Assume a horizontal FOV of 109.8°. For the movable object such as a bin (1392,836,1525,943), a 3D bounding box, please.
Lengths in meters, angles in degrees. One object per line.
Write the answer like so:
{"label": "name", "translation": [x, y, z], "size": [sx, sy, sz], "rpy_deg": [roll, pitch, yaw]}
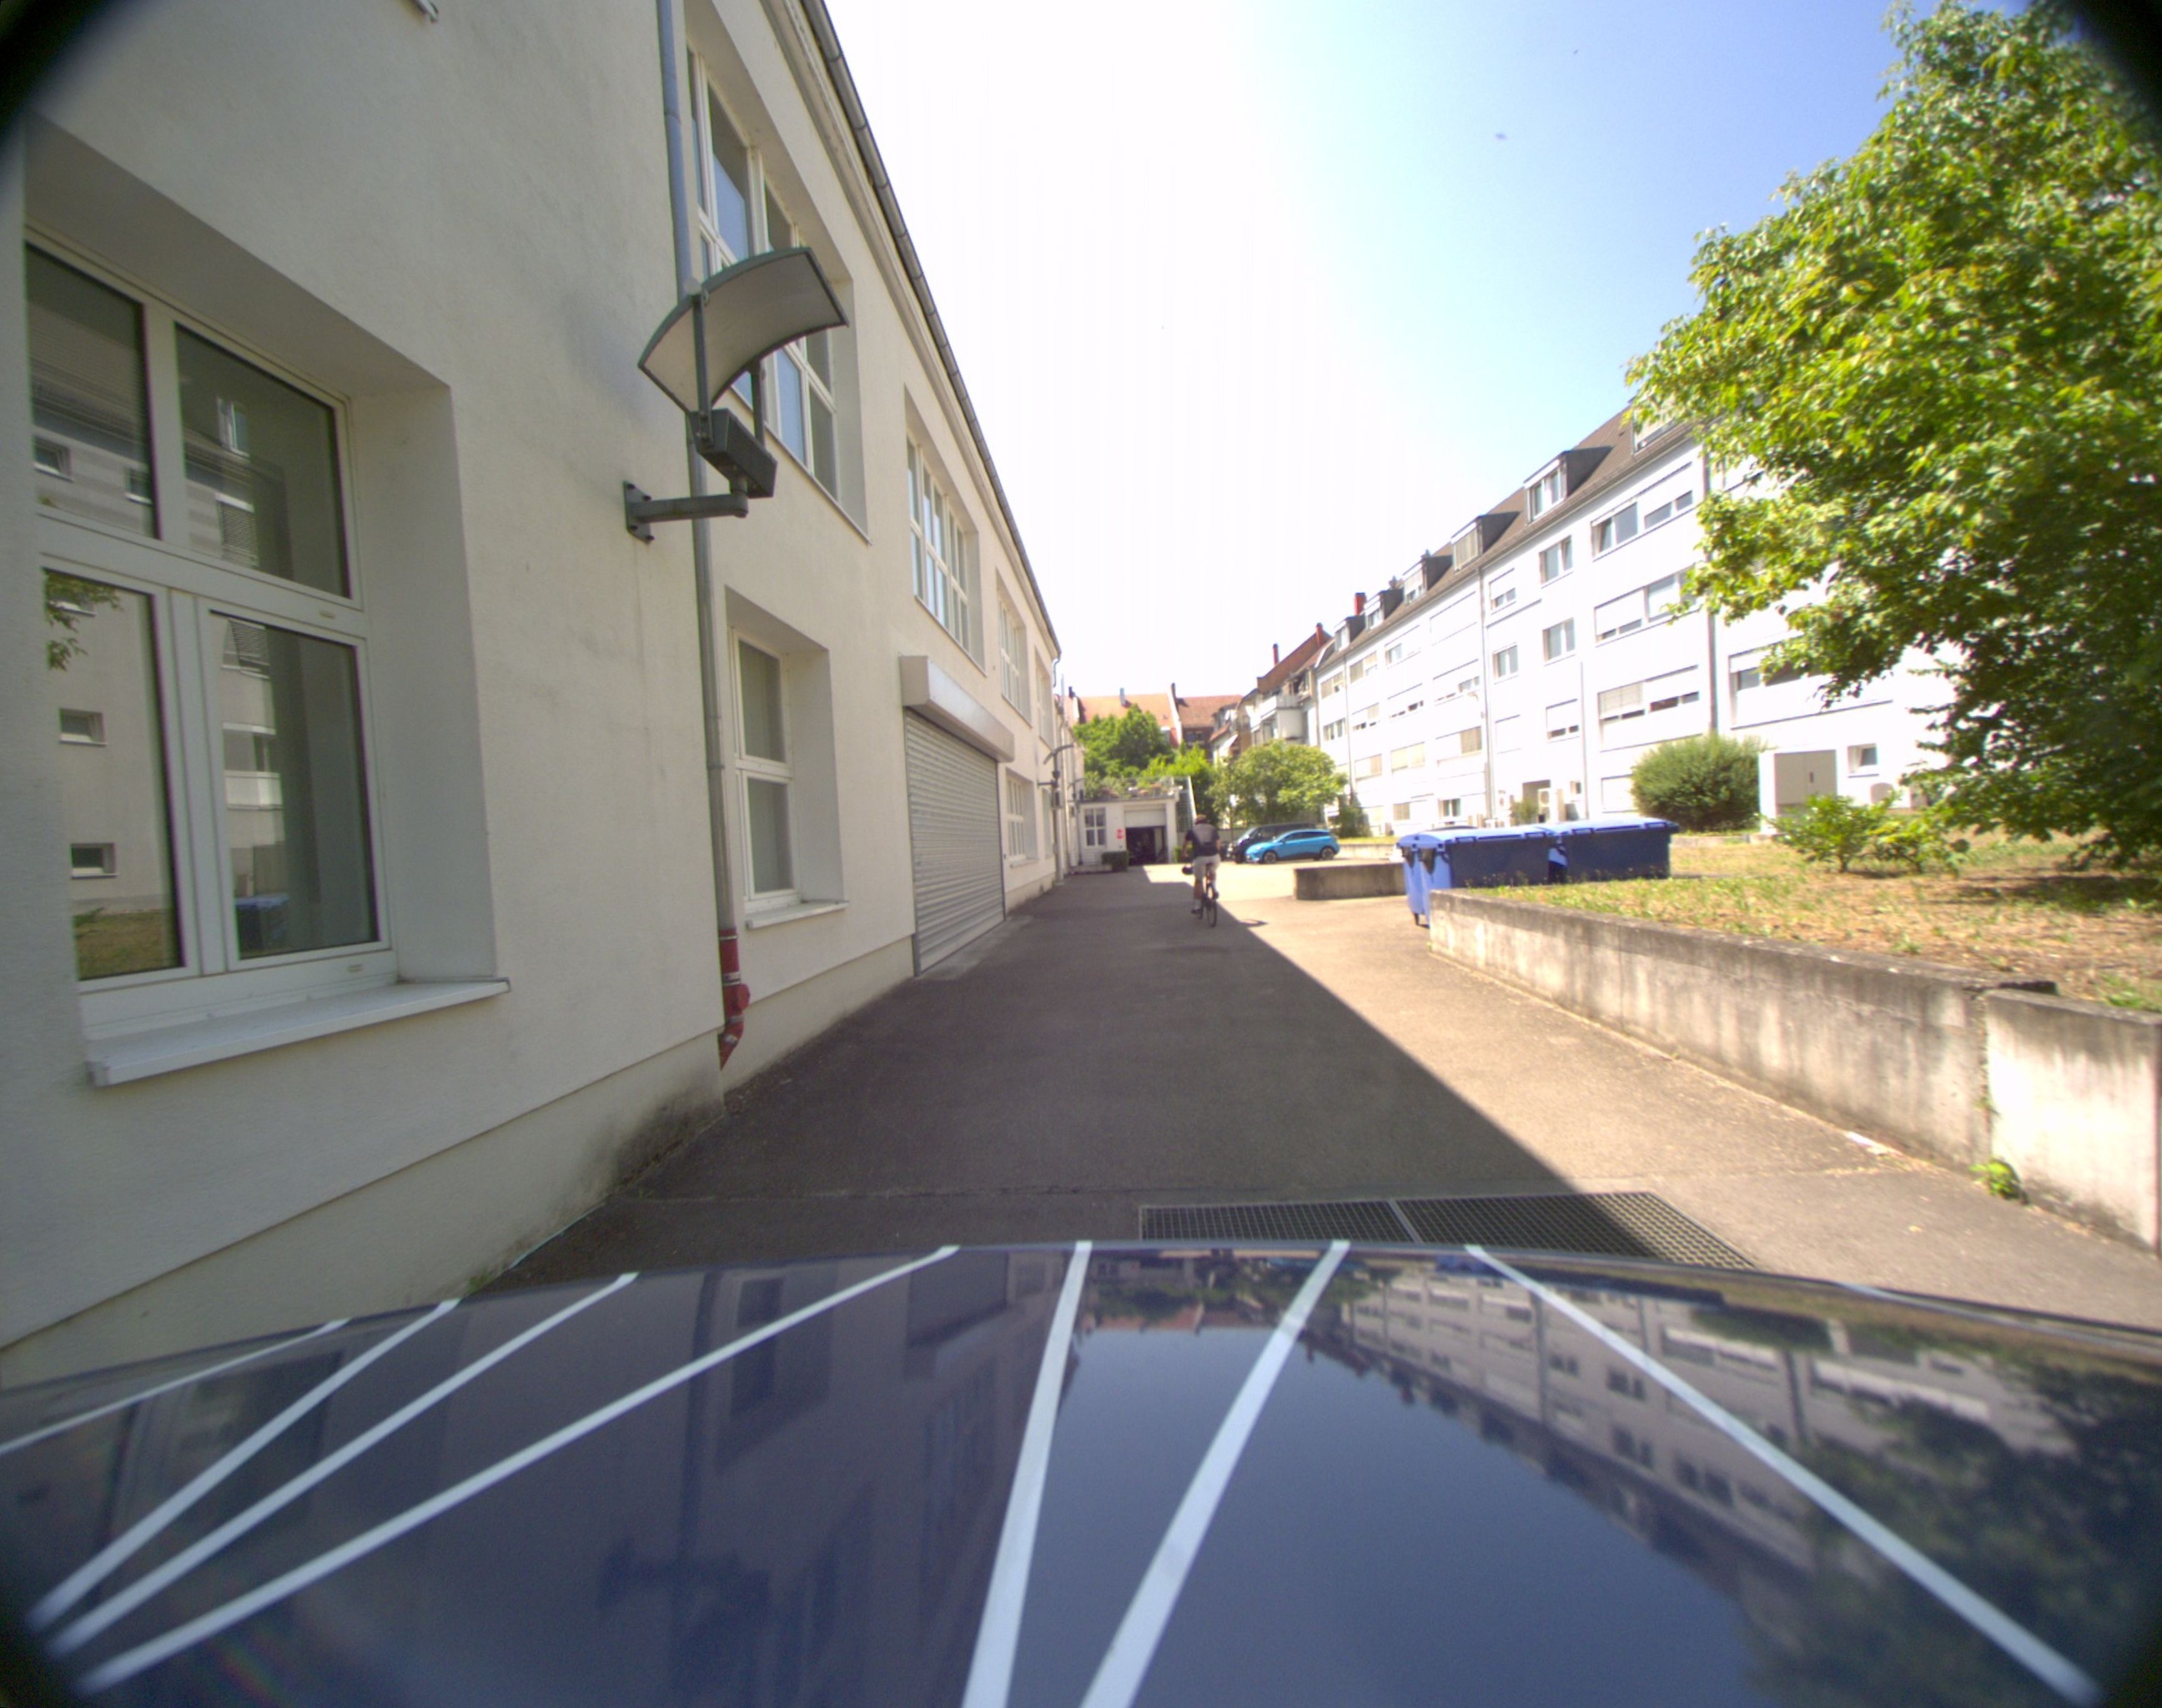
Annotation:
{"label": "movable object such as a bin", "translation": [5.126, 0.449, 10.421], "size": [1.257, 1.320, 1.104], "rpy_deg": [-3, 1, 4]}

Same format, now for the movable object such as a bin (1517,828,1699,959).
{"label": "movable object such as a bin", "translation": [5.899, 0.414, 8.600], "size": [1.257, 1.320, 1.104], "rpy_deg": [-3, 1, 4]}

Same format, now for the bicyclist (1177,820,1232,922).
{"label": "bicyclist", "translation": [2.057, 0.258, 12.752], "size": [0.724, 1.600, 0.978], "rpy_deg": [-4, 2, 3]}

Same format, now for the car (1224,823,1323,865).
{"label": "car", "translation": [9.732, -0.512, 38.718], "size": [4.448, 1.822, 1.999], "rpy_deg": [-4, 2, 1]}

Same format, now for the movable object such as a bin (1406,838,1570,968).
{"label": "movable object such as a bin", "translation": [4.582, 0.519, 8.672], "size": [1.257, 1.320, 1.104], "rpy_deg": [-3, 1, 4]}

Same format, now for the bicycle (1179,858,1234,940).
{"label": "bicycle", "translation": [2.077, 0.708, 12.789], "size": [0.645, 1.168, 1.904], "rpy_deg": [-3, 2, 3]}

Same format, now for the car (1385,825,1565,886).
{"label": "car", "translation": [10.616, 0.017, 20.652], "size": [3.997, 1.428, 1.711], "rpy_deg": [-2, 1, 0]}

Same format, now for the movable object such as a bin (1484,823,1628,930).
{"label": "movable object such as a bin", "translation": [6.431, 0.284, 10.378], "size": [1.257, 1.320, 1.104], "rpy_deg": [-3, 1, 4]}

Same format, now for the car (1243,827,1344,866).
{"label": "car", "translation": [10.028, -0.369, 36.061], "size": [4.167, 1.545, 1.859], "rpy_deg": [-3, 1, -1]}
